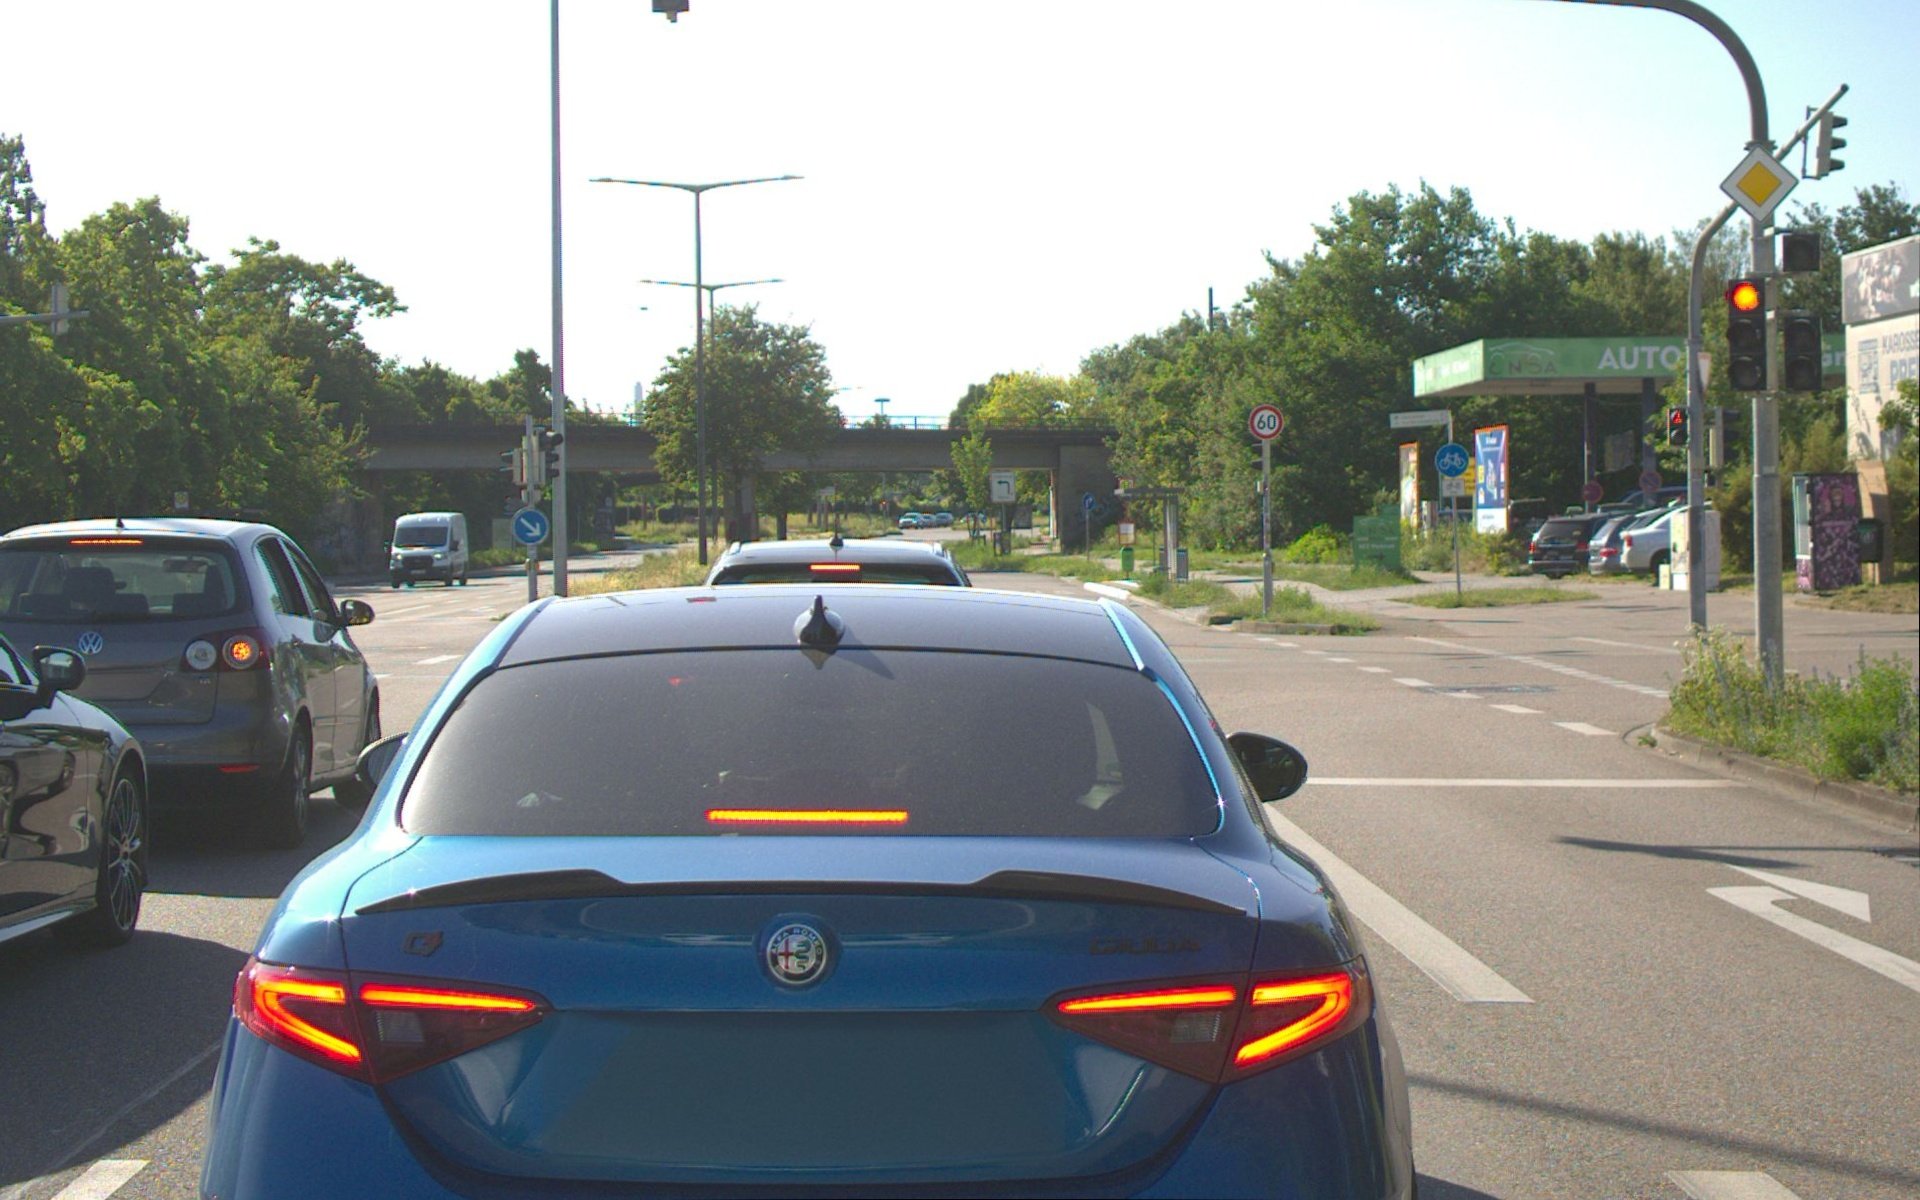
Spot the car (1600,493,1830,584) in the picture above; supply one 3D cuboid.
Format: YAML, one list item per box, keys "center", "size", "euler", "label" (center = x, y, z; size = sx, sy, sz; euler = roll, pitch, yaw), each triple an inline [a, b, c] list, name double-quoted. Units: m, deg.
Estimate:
- center: [14.508, -1.189, 66.089]
  size: [3.986, 1.700, 1.696]
  euler: [-1, 1, -16]
  label: "car"

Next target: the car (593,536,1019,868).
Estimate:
- center: [-0.700, 0.413, 17.060]
  size: [1.866, 1.445, 3.932]
  euler: [0, 1, -1]
  label: "car"

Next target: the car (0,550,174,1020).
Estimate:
- center: [-3.806, 0.571, 10.621]
  size: [1.768, 1.409, 4.461]
  euler: [0, 1, -1]
  label: "car"

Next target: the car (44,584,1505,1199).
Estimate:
- center: [-0.261, 0.698, 6.371]
  size: [1.866, 1.380, 3.932]
  euler: [0, 1, -1]
  label: "car"

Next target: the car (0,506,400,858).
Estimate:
- center: [-3.986, 0.332, 17.539]
  size: [1.648, 1.593, 3.932]
  euler: [0, 1, -1]
  label: "car"

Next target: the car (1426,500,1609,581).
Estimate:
- center: [12.016, -1.280, 74.135]
  size: [3.483, 1.700, 1.696]
  euler: [-1, 1, -16]
  label: "car"

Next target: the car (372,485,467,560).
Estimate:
- center: [-18.030, -2.585, 114.942]
  size: [2.431, 2.418, 5.831]
  euler: [0, 1, -2]
  label: "car"

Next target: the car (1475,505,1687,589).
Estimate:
- center: [12.818, -1.105, 70.946]
  size: [3.986, 1.700, 1.696]
  euler: [-1, 1, -19]
  label: "car"
